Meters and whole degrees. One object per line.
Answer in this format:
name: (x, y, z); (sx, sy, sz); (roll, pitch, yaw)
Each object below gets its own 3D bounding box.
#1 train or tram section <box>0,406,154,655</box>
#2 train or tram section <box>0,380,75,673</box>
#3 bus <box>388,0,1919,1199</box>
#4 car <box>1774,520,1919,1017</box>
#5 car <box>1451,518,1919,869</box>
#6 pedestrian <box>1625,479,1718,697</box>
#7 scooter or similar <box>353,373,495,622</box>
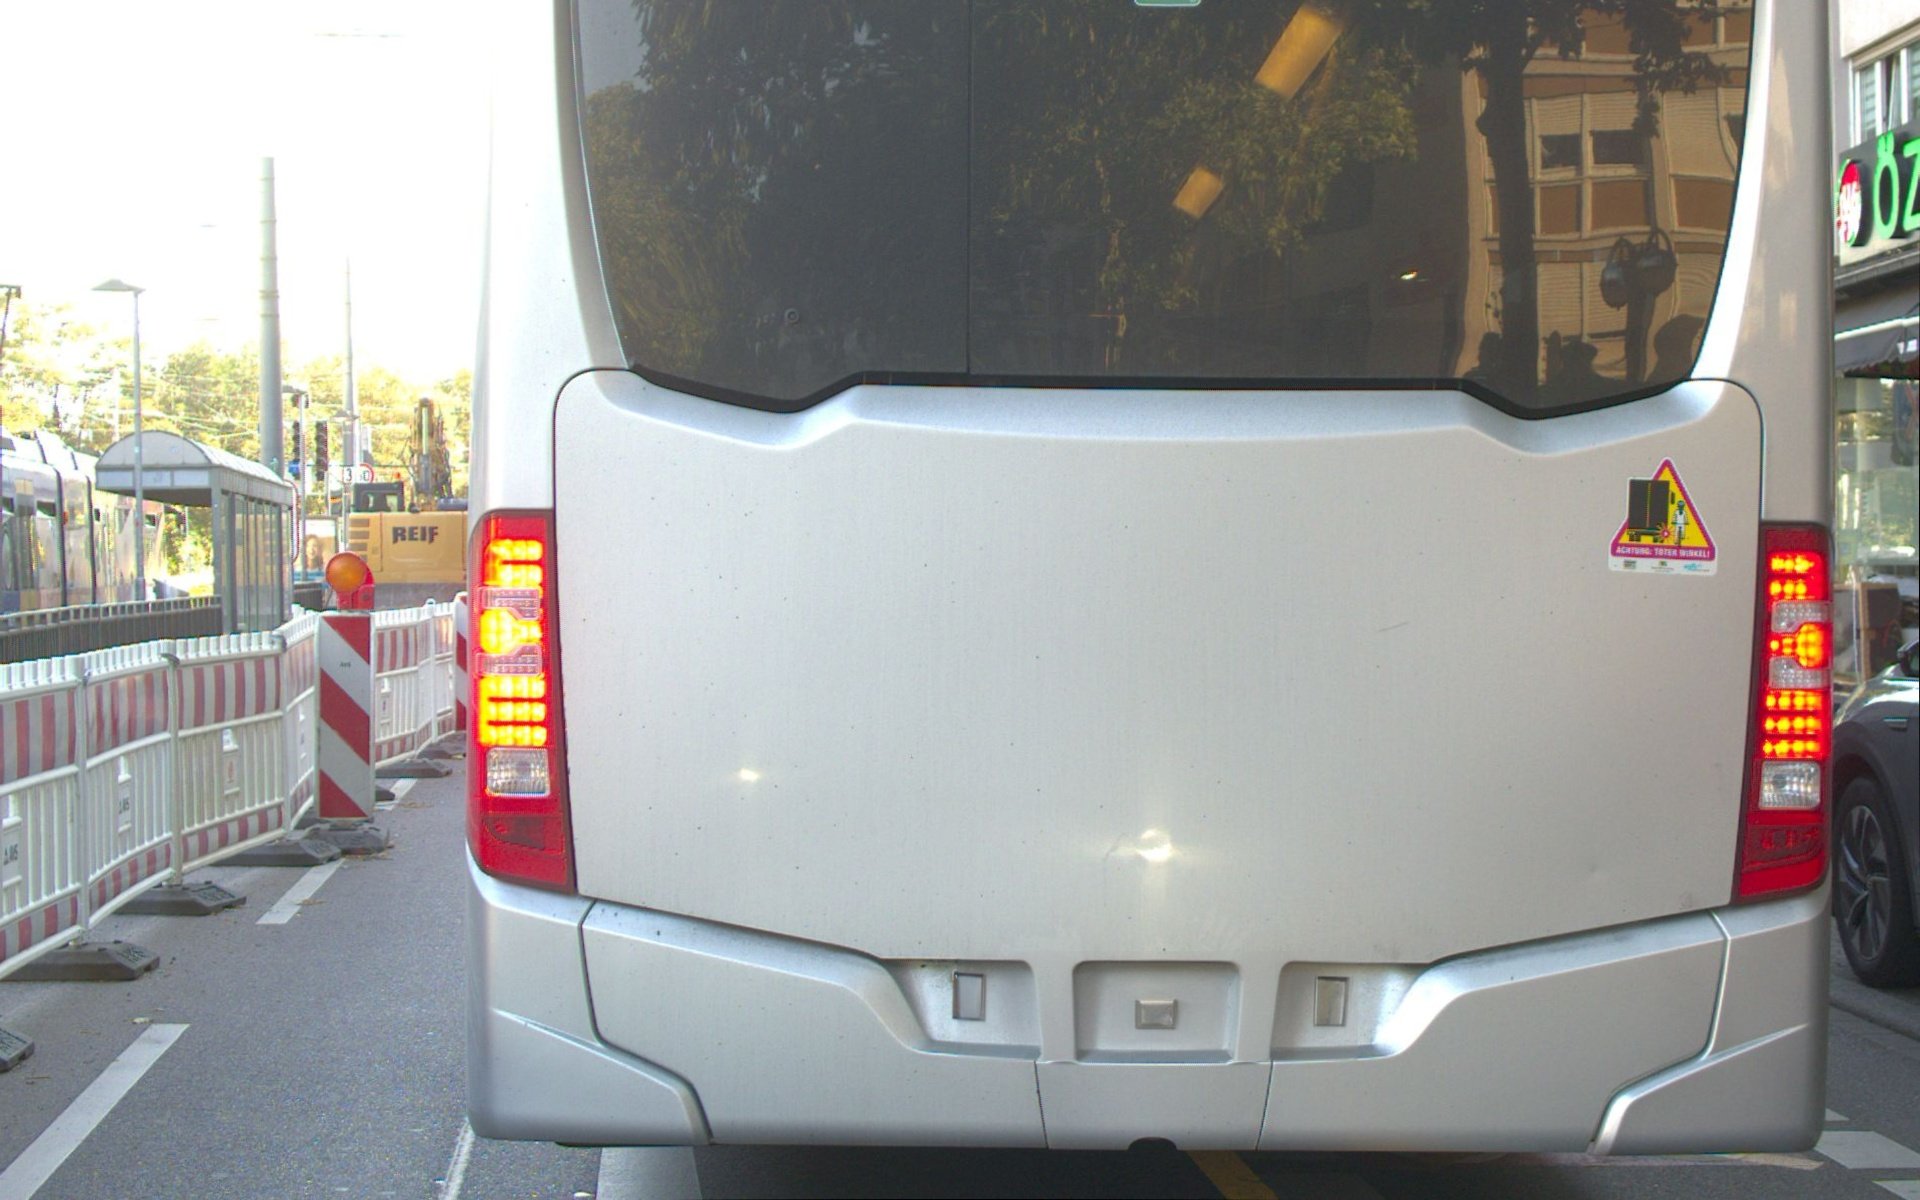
train or tram section: (-14.699, -1.064, 54.543); (2.686, 3.521, 11.585); (1, 1, -8)
train or tram section: (-13.168, -0.918, 43.093); (2.686, 3.546, 11.585); (1, 1, -8)
bus: (0.300, -0.211, 9.904); (2.611, 3.115, 7.993); (1, 1, -1)
car: (4.128, 0.523, 10.181); (1.993, 1.576, 4.369); (-3, 1, -5)
car: (4.159, 0.392, 18.477); (1.993, 1.576, 4.369); (-3, 1, -5)
pedestrian: (6.658, -0.118, 32.199); (0.685, 2.007, 0.786); (-1, 1, -1)
scooter or similar: (-10.051, -1.880, 64.813); (2.468, 4.455, 5.974); (-1, 1, -8)
